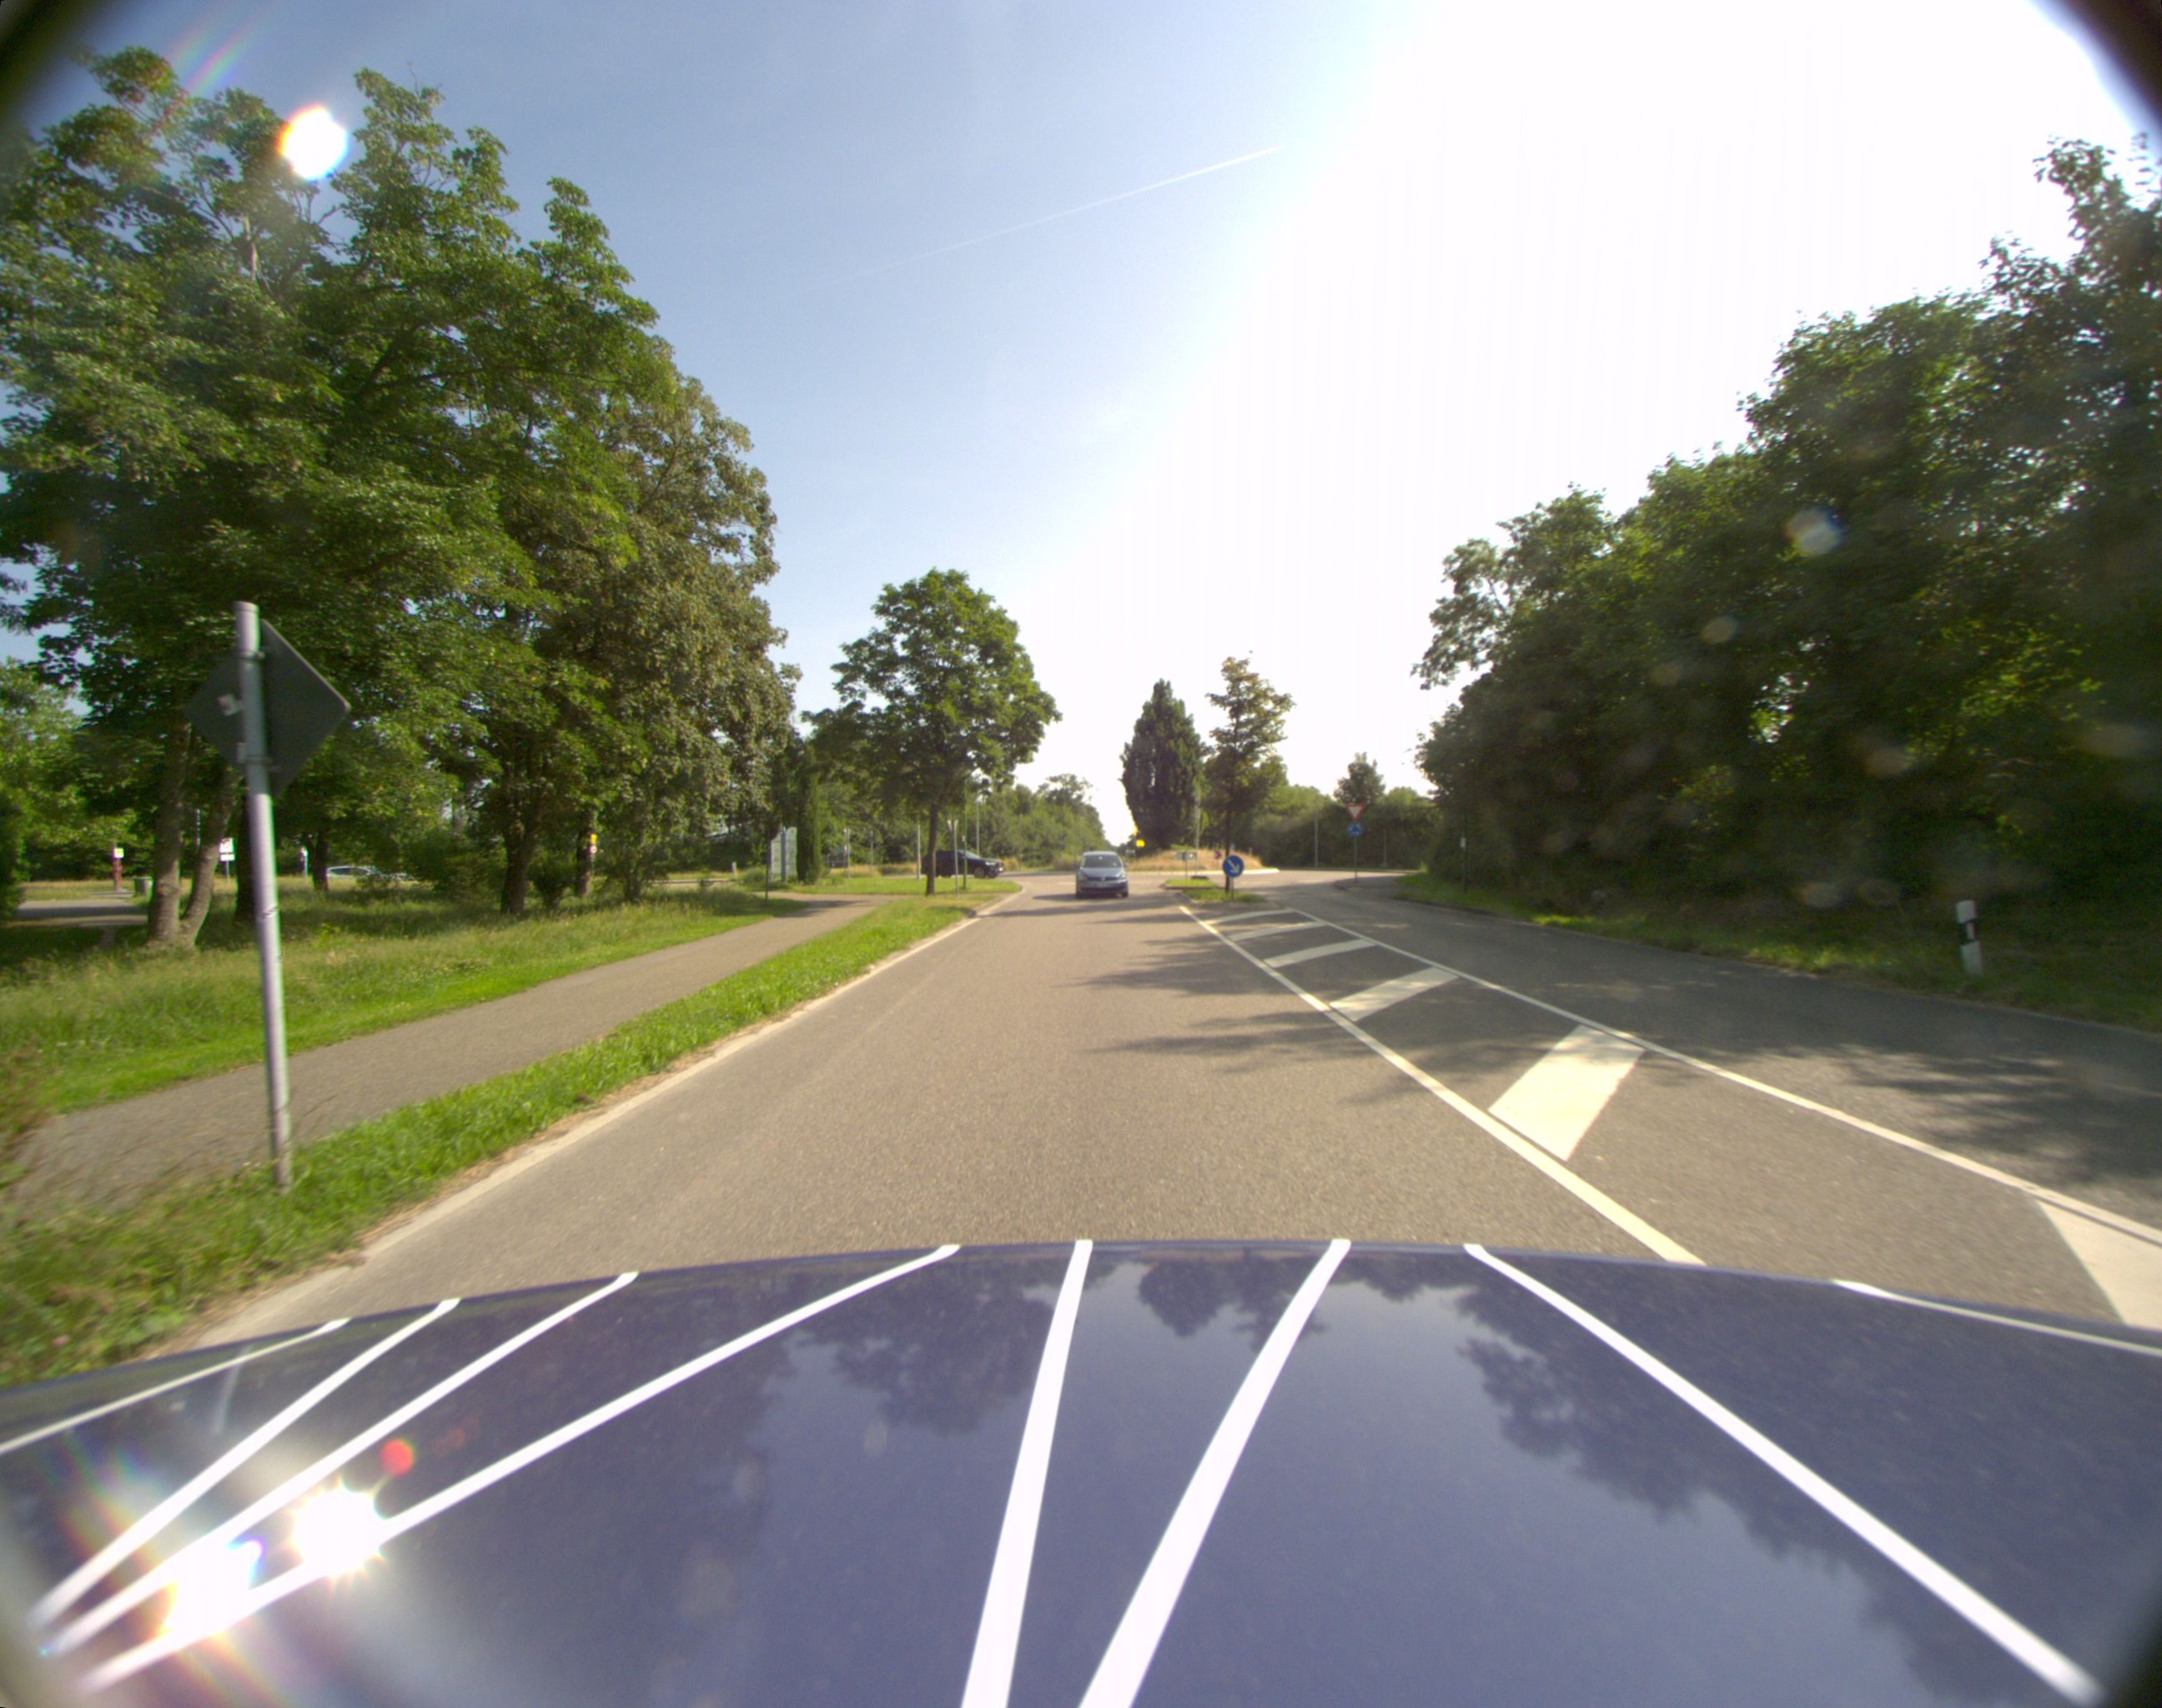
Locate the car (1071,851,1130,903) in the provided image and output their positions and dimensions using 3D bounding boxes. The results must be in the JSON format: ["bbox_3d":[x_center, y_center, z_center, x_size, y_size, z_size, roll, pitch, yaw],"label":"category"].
[{"bbox_3d":[0.691,0.703,25.612,1.808,1.592,4.270,-1,1,2],"label":"car"}]

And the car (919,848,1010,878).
[{"bbox_3d":[-6.477,0.482,42.488,4.612,1.592,1.955,-1,1,15],"label":"car"}]

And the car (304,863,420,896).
[{"bbox_3d":[-38.879,1.358,41.207,4.136,1.540,1.901,-2,1,-10],"label":"car"}]
